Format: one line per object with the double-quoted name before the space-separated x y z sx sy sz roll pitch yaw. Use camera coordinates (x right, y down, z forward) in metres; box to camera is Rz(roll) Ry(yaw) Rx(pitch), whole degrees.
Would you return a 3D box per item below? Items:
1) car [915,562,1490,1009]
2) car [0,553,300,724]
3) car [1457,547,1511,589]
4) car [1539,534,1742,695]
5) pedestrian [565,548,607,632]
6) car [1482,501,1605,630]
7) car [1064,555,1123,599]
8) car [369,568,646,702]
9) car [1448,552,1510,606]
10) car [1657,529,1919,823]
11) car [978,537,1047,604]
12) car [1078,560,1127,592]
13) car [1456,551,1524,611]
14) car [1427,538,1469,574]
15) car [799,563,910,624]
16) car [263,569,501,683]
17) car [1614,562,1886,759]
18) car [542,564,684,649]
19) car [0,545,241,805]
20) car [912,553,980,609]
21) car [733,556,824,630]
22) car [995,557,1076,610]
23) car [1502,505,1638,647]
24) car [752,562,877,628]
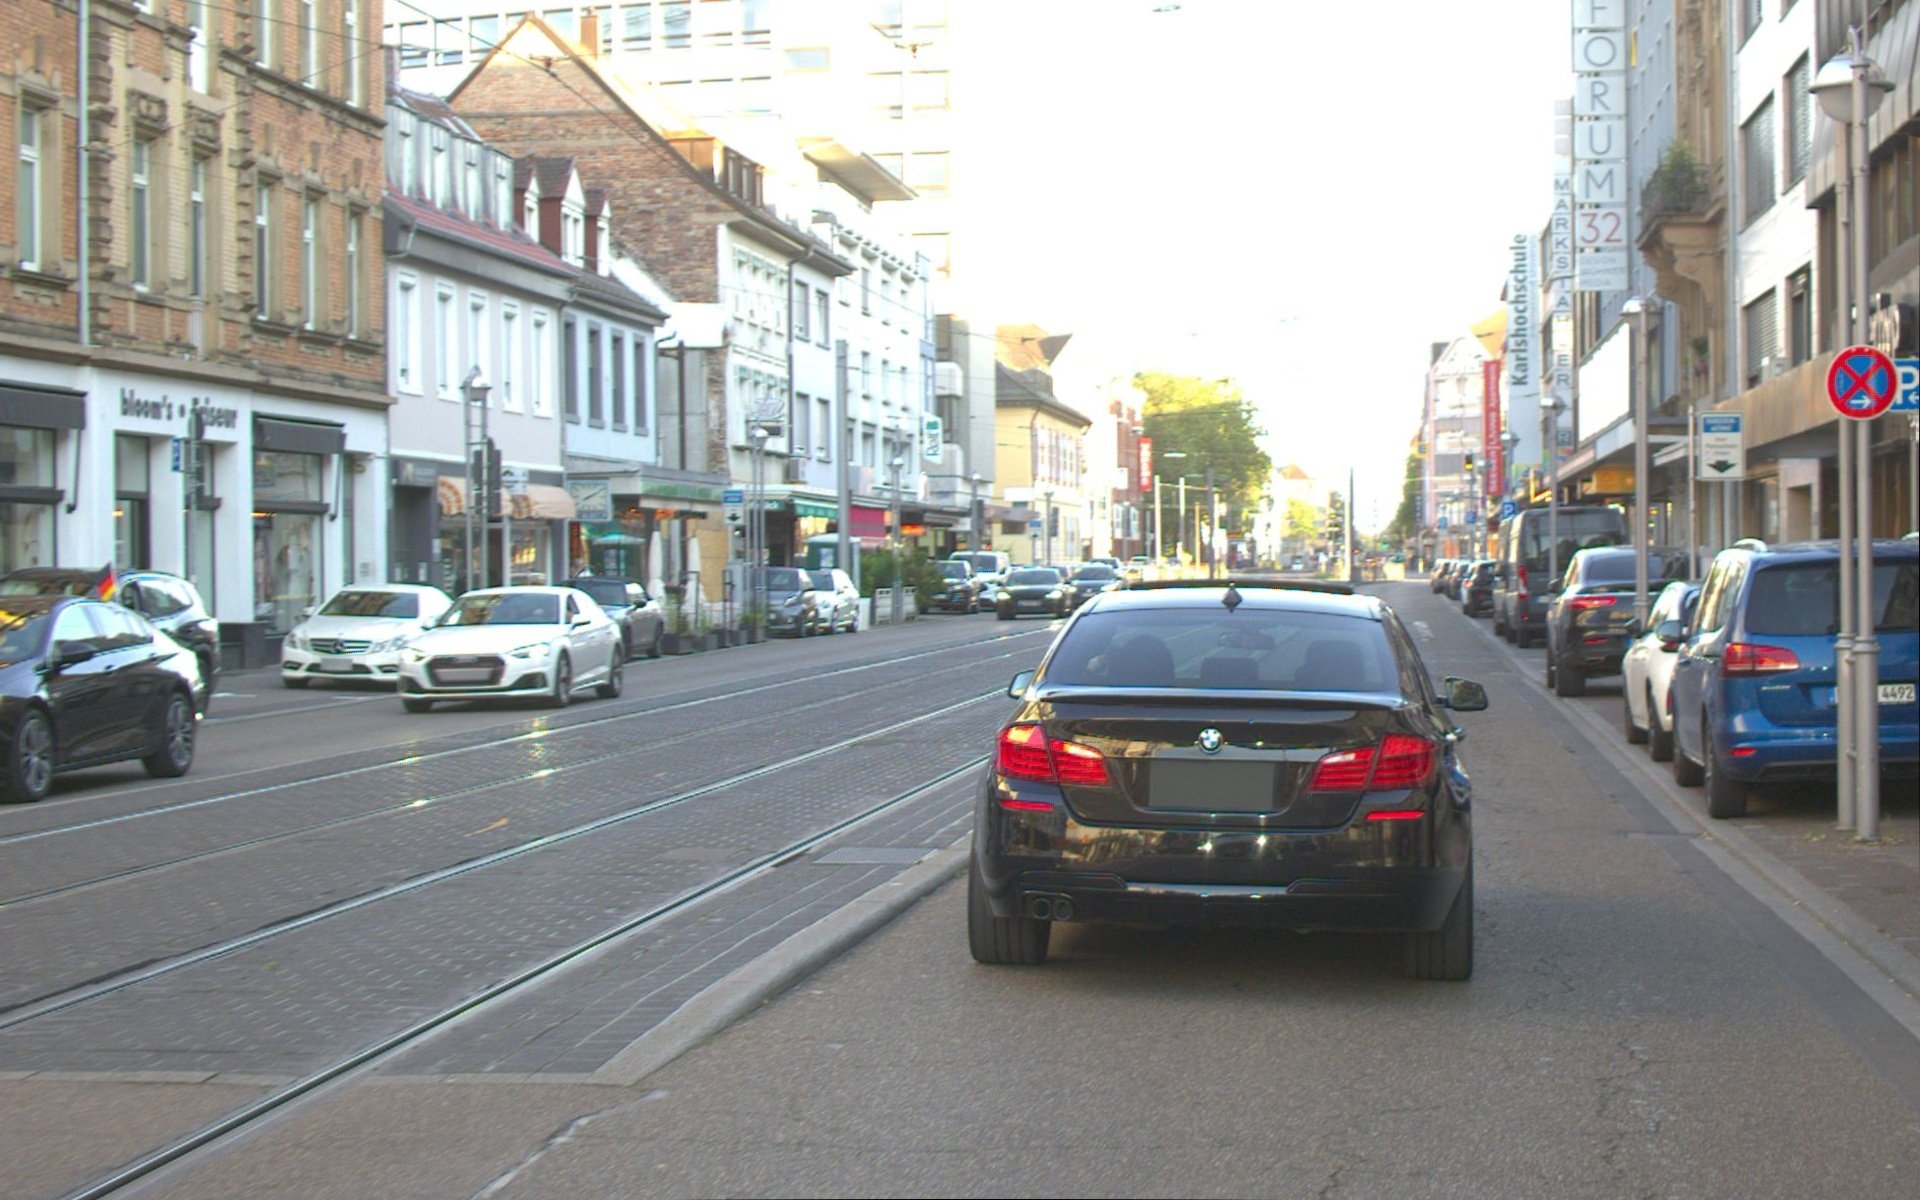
"car" 1.164 0.636 14.070 1.954 1.493 4.463 1 0 9
"car" -8.907 0.355 37.262 1.931 1.669 4.644 1 1 10
"car" 19.803 -1.197 130.019 1.903 1.543 3.999 0 0 7
"car" 7.954 0.132 40.547 1.994 1.721 4.564 -2 0 8
"pedestrian" -7.321 -0.201 67.292 0.663 1.638 0.694 0 1 8
"car" 11.833 -0.716 70.060 2.033 2.447 5.408 -2 1 6
"car" 4.555 -0.781 116.475 1.692 1.448 4.464 0 1 6
"car" -5.183 0.366 40.038 1.994 1.448 4.655 0 1 8
"car" 14.661 -0.604 97.217 1.560 1.437 3.708 -2 1 7
"car" 5.821 0.414 22.757 1.994 1.721 4.575 -2 0 8
"car" 1.747 -0.980 113.557 1.994 2.149 4.910 0 1 4
"car" 6.769 -1.143 162.697 1.929 1.430 4.245 1 1 8
"car" 14.202 -0.527 92.254 1.655 1.532 3.885 -1 1 7
"car" 21.506 -1.948 151.639 1.775 1.543 3.502 0 0 7
"car" -2.554 -0.186 84.613 1.994 1.448 4.328 0 1 8
"car" -7.801 0.322 46.853 1.869 1.448 4.609 0 1 8
"car" 6.485 0.451 28.577 1.796 1.428 3.886 -2 1 8
"car" -6.073 0.127 60.539 1.599 1.435 3.811 1 0 8
"car" -7.057 0.499 25.035 1.994 1.721 4.726 -2 0 8
"car" -0.403 -0.586 105.617 1.866 1.679 4.000 0 1 3
"car" -3.939 -0.166 74.863 1.477 1.572 2.794 -1 1 7
"car" 2.152 -0.477 96.446 1.994 1.448 4.648 0 1 5
"car" 11.201 -0.468 63.477 2.093 2.447 6.031 -1 1 7
"car" -3.319 -0.139 79.393 1.994 1.448 4.820 0 1 8
